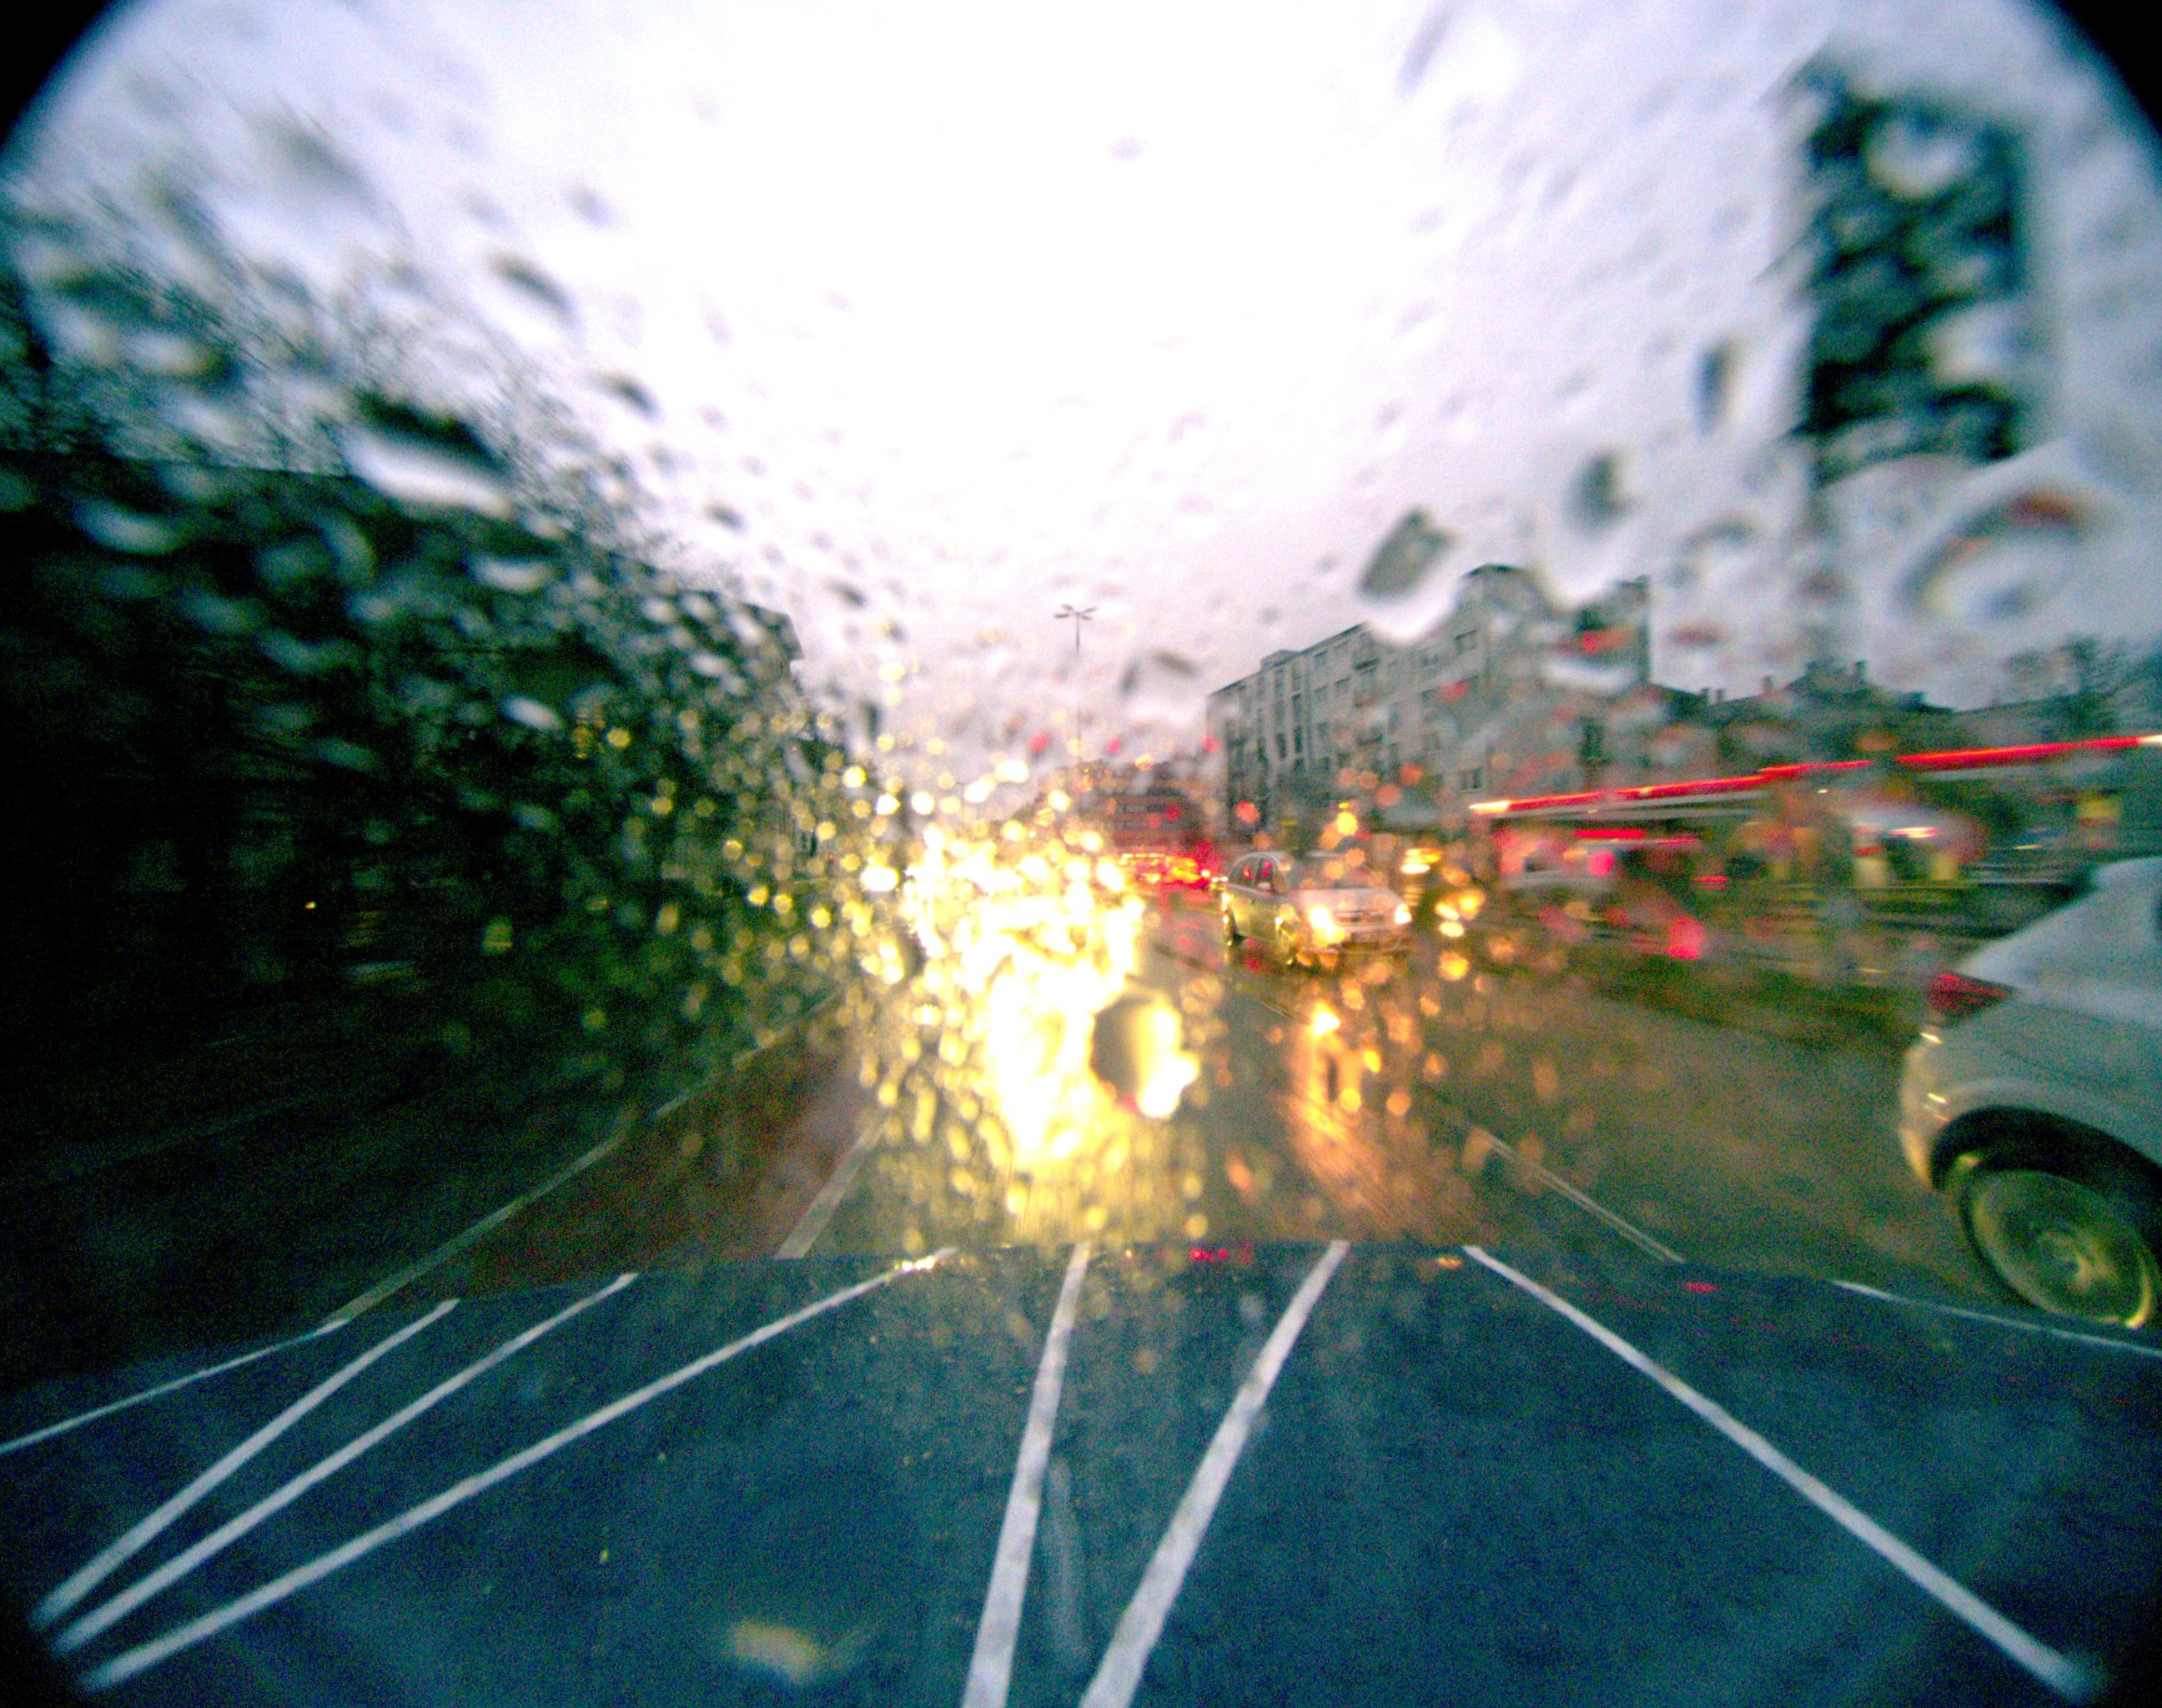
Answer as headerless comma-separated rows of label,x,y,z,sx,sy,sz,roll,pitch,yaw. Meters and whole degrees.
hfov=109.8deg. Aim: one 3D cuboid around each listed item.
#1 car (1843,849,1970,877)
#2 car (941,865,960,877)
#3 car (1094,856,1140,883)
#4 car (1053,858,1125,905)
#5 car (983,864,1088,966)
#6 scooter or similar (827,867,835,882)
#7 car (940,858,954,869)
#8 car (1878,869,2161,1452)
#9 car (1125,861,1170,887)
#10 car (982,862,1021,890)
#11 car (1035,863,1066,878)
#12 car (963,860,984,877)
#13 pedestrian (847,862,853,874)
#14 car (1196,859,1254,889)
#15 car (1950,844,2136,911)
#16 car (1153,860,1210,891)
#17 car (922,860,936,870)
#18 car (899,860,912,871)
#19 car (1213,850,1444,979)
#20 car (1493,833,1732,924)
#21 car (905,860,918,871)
car,42.482,0.443,39.222,1.963,1.373,3.994,-1,0,-17
car,-16.687,2.151,97.038,1.970,1.378,4.528,0,-1,-15
car,2.460,1.055,52.988,1.970,1.772,4.528,0,-1,-15
car,0.192,0.926,27.227,1.755,1.535,3.996,0,0,-12
car,-0.981,1.021,14.371,1.650,1.575,3.802,-2,0,-8
scooter or similar,-19.192,1.569,58.384,0.442,1.196,1.079,-2,0,-22
car,-21.657,1.581,122.839,2.001,1.599,3.996,-2,0,-14
car,3.575,0.764,0.624,1.630,1.478,4.000,-1,-1,0
car,3.982,1.203,45.989,1.651,1.478,3.996,0,-1,-12
car,-5.220,1.397,49.345,1.822,1.732,4.181,0,0,-16
car,-2.941,1.518,71.966,1.970,1.378,4.528,0,-1,-15
car,-13.396,1.791,94.155,2.001,2.002,3.995,-1,0,-16
pedestrian,-31.013,1.914,101.941,0.657,1.579,0.561,-2,0,-23
car,7.922,1.095,42.100,1.651,1.557,4.276,0,-1,-12
car,24.391,0.554,19.282,4.004,1.521,1.776,-1,0,-20
car,5.139,1.095,39.374,1.651,1.478,4.140,0,-1,-12
car,-24.585,1.713,122.562,2.001,1.525,3.996,-2,0,-14
car,-28.158,1.836,121.962,2.001,1.685,3.996,-2,0,-14
car,3.436,0.757,11.435,1.650,1.539,4.106,-2,0,-8
car,12.785,0.553,18.786,2.000,1.934,4.850,1,-1,-10
car,-28.746,1.927,128.653,2.001,1.693,3.996,-2,0,-14
